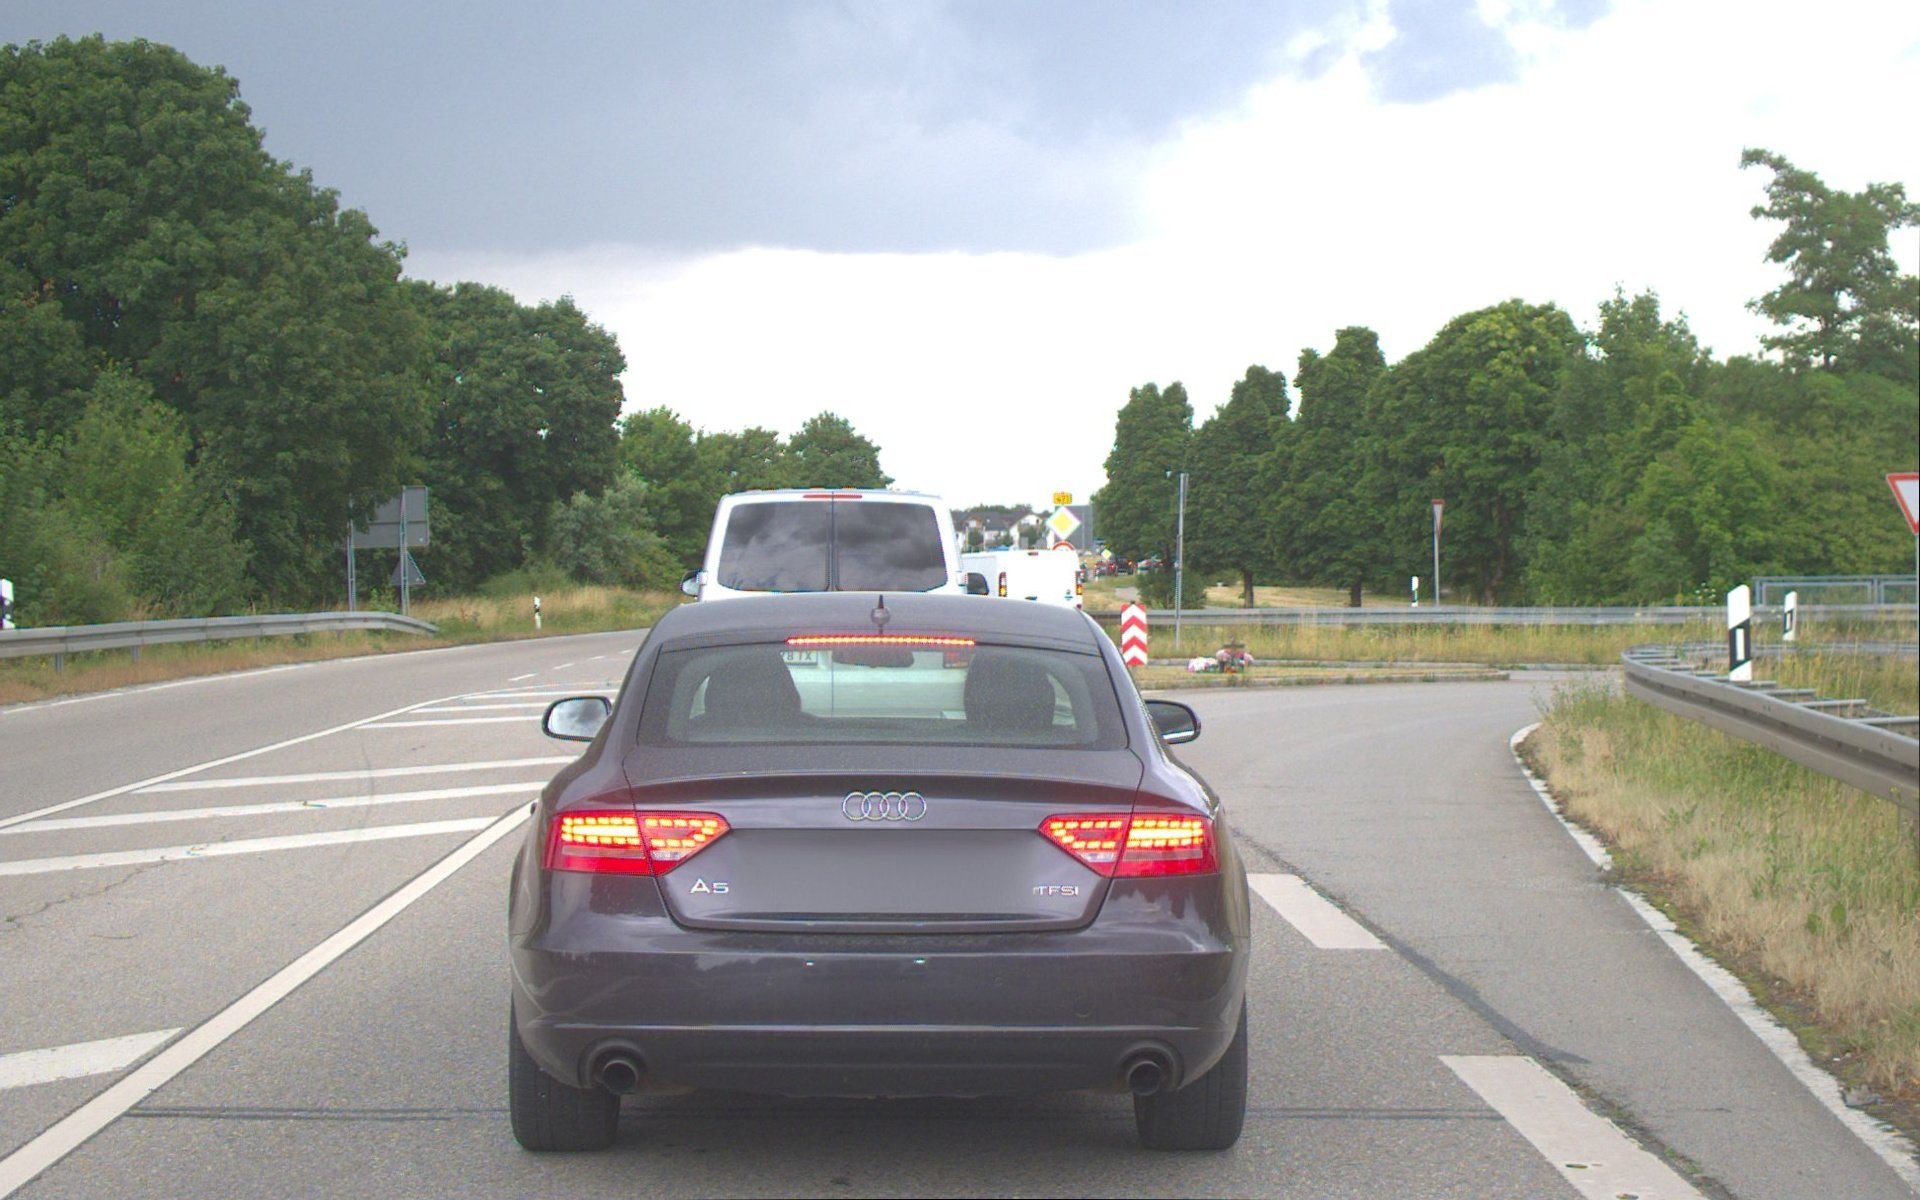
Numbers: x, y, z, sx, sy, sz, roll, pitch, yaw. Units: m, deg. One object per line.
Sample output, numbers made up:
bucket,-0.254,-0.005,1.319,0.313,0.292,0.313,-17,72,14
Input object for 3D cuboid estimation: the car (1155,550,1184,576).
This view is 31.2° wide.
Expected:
car,14.233,-2.524,233.428,1.876,1.686,4.000,1,1,4

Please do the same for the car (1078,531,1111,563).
car,8.653,-3.408,221.442,1.993,2.007,4.000,1,1,1

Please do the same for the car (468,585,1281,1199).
car,-0.241,0.676,9.204,1.779,1.394,3.337,0,1,-2

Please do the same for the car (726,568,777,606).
car,-8.135,-0.520,134.481,1.798,1.393,3.483,1,1,0

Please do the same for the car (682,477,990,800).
car,-0.836,0.200,23.552,1.910,2.007,4.001,1,1,-2

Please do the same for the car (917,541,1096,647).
car,0.906,-0.153,70.803,2.080,2.057,4.877,0,1,-20

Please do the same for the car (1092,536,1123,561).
car,10.323,-3.617,240.710,1.993,1.686,4.000,1,1,1

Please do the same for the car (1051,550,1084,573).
car,7.916,-2.851,253.343,2.205,1.577,4.379,1,1,-2

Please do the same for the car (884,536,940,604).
car,-1.770,-1.129,128.025,1.993,2.400,4.000,2,1,0
